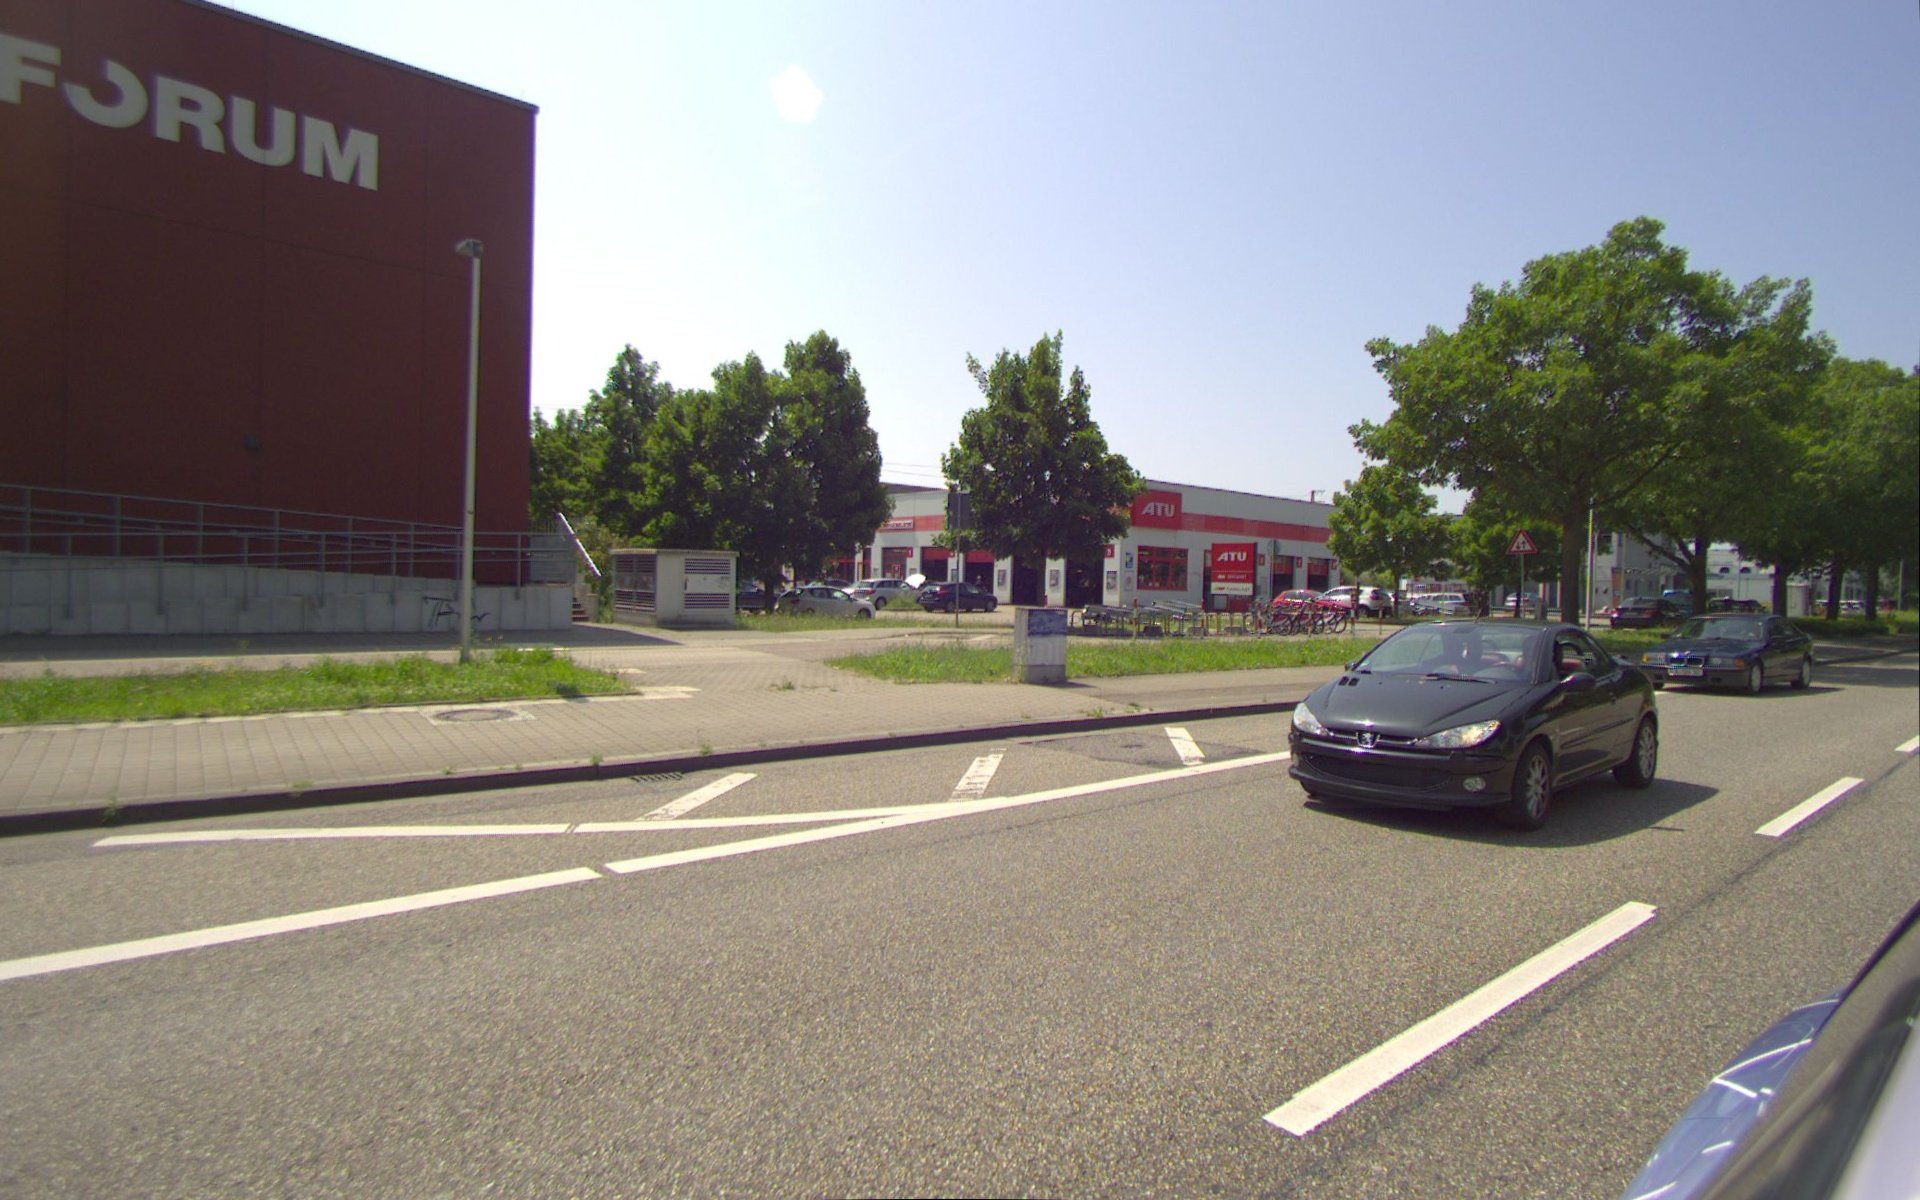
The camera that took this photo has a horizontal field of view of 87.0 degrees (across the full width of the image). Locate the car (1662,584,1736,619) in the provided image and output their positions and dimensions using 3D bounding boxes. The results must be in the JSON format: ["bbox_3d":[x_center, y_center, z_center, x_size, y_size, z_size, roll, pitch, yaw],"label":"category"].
[{"bbox_3d":[32.830,0.069,44.956,3.928,1.485,1.719,1,1,-40],"label":"car"}]

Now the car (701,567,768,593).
[{"bbox_3d":[-14.787,-1.293,66.328,3.930,1.626,1.710,0,1,-41],"label":"car"}]

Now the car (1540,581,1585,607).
[{"bbox_3d":[39.947,-0.416,67.037,1.754,1.616,3.938,2,2,43],"label":"car"}]

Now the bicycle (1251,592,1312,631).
[{"bbox_3d":[10.262,0.354,32.349,1.780,1.138,0.506,3,1,44],"label":"bicycle"}]

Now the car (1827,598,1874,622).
[{"bbox_3d":[59.453,0.661,67.570,3.928,1.485,1.719,1,1,-40],"label":"car"}]

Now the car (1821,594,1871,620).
[{"bbox_3d":[55.006,0.414,62.803,3.928,1.485,1.719,1,1,-40],"label":"car"}]

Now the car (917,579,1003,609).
[{"bbox_3d":[0.027,-0.297,49.343,4.072,1.390,1.716,0,2,-41],"label":"car"}]

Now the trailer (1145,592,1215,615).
[{"bbox_3d":[8.201,0.133,37.789,1.368,0.771,2.138,1,2,-38],"label":"trailer"}]

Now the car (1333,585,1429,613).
[{"bbox_3d":[20.778,-0.080,50.034,1.718,1.223,3.993,1,2,-42],"label":"car"}]

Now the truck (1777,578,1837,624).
[{"bbox_3d":[50.055,0.070,59.802,3.927,2.599,1.905,1,1,-39],"label":"truck"}]

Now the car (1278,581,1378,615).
[{"bbox_3d":[16.990,-0.127,46.877,1.717,1.419,3.993,1,2,-42],"label":"car"}]

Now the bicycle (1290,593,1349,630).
[{"bbox_3d":[11.882,0.364,33.476,1.780,1.138,0.506,3,1,44],"label":"bicycle"}]

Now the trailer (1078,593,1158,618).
[{"bbox_3d":[5.520,0.174,35.463,1.423,0.771,2.467,1,2,-38],"label":"trailer"}]

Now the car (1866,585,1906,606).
[{"bbox_3d":[69.800,-0.325,76.266,3.928,1.485,1.719,1,1,-40],"label":"car"}]

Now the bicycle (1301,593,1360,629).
[{"bbox_3d":[12.405,0.358,33.935,1.780,1.138,0.506,3,1,44],"label":"bicycle"}]

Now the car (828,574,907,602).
[{"bbox_3d":[-4.915,-0.619,54.116,3.930,1.389,1.725,0,2,-41],"label":"car"}]

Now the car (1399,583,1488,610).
[{"bbox_3d":[25.973,-0.190,54.476,1.661,1.317,3.993,1,2,-42],"label":"car"}]

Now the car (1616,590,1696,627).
[{"bbox_3d":[28.328,0.340,41.154,3.928,1.388,1.642,1,1,-40],"label":"car"}]

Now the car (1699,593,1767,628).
[{"bbox_3d":[36.917,0.484,48.332,3.928,1.539,1.719,1,1,-40],"label":"car"}]

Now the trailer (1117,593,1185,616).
[{"bbox_3d":[6.902,0.153,36.634,1.244,0.771,2.138,1,1,-38],"label":"trailer"}]

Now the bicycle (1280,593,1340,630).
[{"bbox_3d":[11.437,0.355,33.088,1.780,1.138,0.506,3,1,44],"label":"bicycle"}]

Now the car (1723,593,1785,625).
[{"bbox_3d":[41.167,0.475,52.447,3.928,1.532,1.719,1,1,-40],"label":"car"}]

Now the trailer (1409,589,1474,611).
[{"bbox_3d":[24.941,-0.004,52.405,1.551,1.065,2.639,1,2,-42],"label":"trailer"}]

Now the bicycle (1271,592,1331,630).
[{"bbox_3d":[10.989,0.347,32.653,1.780,1.138,0.506,3,1,44],"label":"bicycle"}]

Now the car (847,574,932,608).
[{"bbox_3d":[-3.580,-0.450,51.747,4.072,1.683,1.716,0,2,-41],"label":"car"}]

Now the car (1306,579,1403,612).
[{"bbox_3d":[18.855,-0.217,48.495,1.718,1.419,3.993,1,2,-42],"label":"car"}]

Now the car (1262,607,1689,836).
[{"bbox_3d":[4.185,0.741,7.951,3.930,1.361,1.640,1,-1,-41],"label":"car"}]

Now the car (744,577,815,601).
[{"bbox_3d":[-11.251,-0.691,63.300,4.072,1.376,1.647,0,2,-41],"label":"car"}]

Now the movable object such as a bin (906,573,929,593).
[{"bbox_3d":[-2.711,-1.089,64.249,1.047,1.274,1.003,1,1,-36],"label":"movable object such as a bin"}]

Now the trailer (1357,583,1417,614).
[{"bbox_3d":[23.025,-0.083,54.616,1.391,1.546,2.639,1,1,-42],"label":"trailer"}]

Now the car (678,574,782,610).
[{"bbox_3d":[-9.768,-0.316,43.109,3.928,1.444,1.711,1,1,-39],"label":"car"}]

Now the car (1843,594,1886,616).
[{"bbox_3d":[65.084,0.331,72.789,3.928,1.485,1.719,1,1,-40],"label":"car"}]

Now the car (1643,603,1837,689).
[{"bbox_3d":[14.126,0.757,18.272,4.066,1.388,1.643,1,-1,-35],"label":"car"}]

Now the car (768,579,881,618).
[{"bbox_3d":[-4.994,-0.068,37.633,3.903,1.329,1.652,0,2,-41],"label":"car"}]

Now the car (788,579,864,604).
[{"bbox_3d":[-7.617,-0.475,57.701,4.072,1.376,1.647,0,2,-41],"label":"car"}]

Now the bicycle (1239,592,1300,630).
[{"bbox_3d":[9.771,0.335,31.976,1.780,1.138,0.506,3,1,44],"label":"bicycle"}]
